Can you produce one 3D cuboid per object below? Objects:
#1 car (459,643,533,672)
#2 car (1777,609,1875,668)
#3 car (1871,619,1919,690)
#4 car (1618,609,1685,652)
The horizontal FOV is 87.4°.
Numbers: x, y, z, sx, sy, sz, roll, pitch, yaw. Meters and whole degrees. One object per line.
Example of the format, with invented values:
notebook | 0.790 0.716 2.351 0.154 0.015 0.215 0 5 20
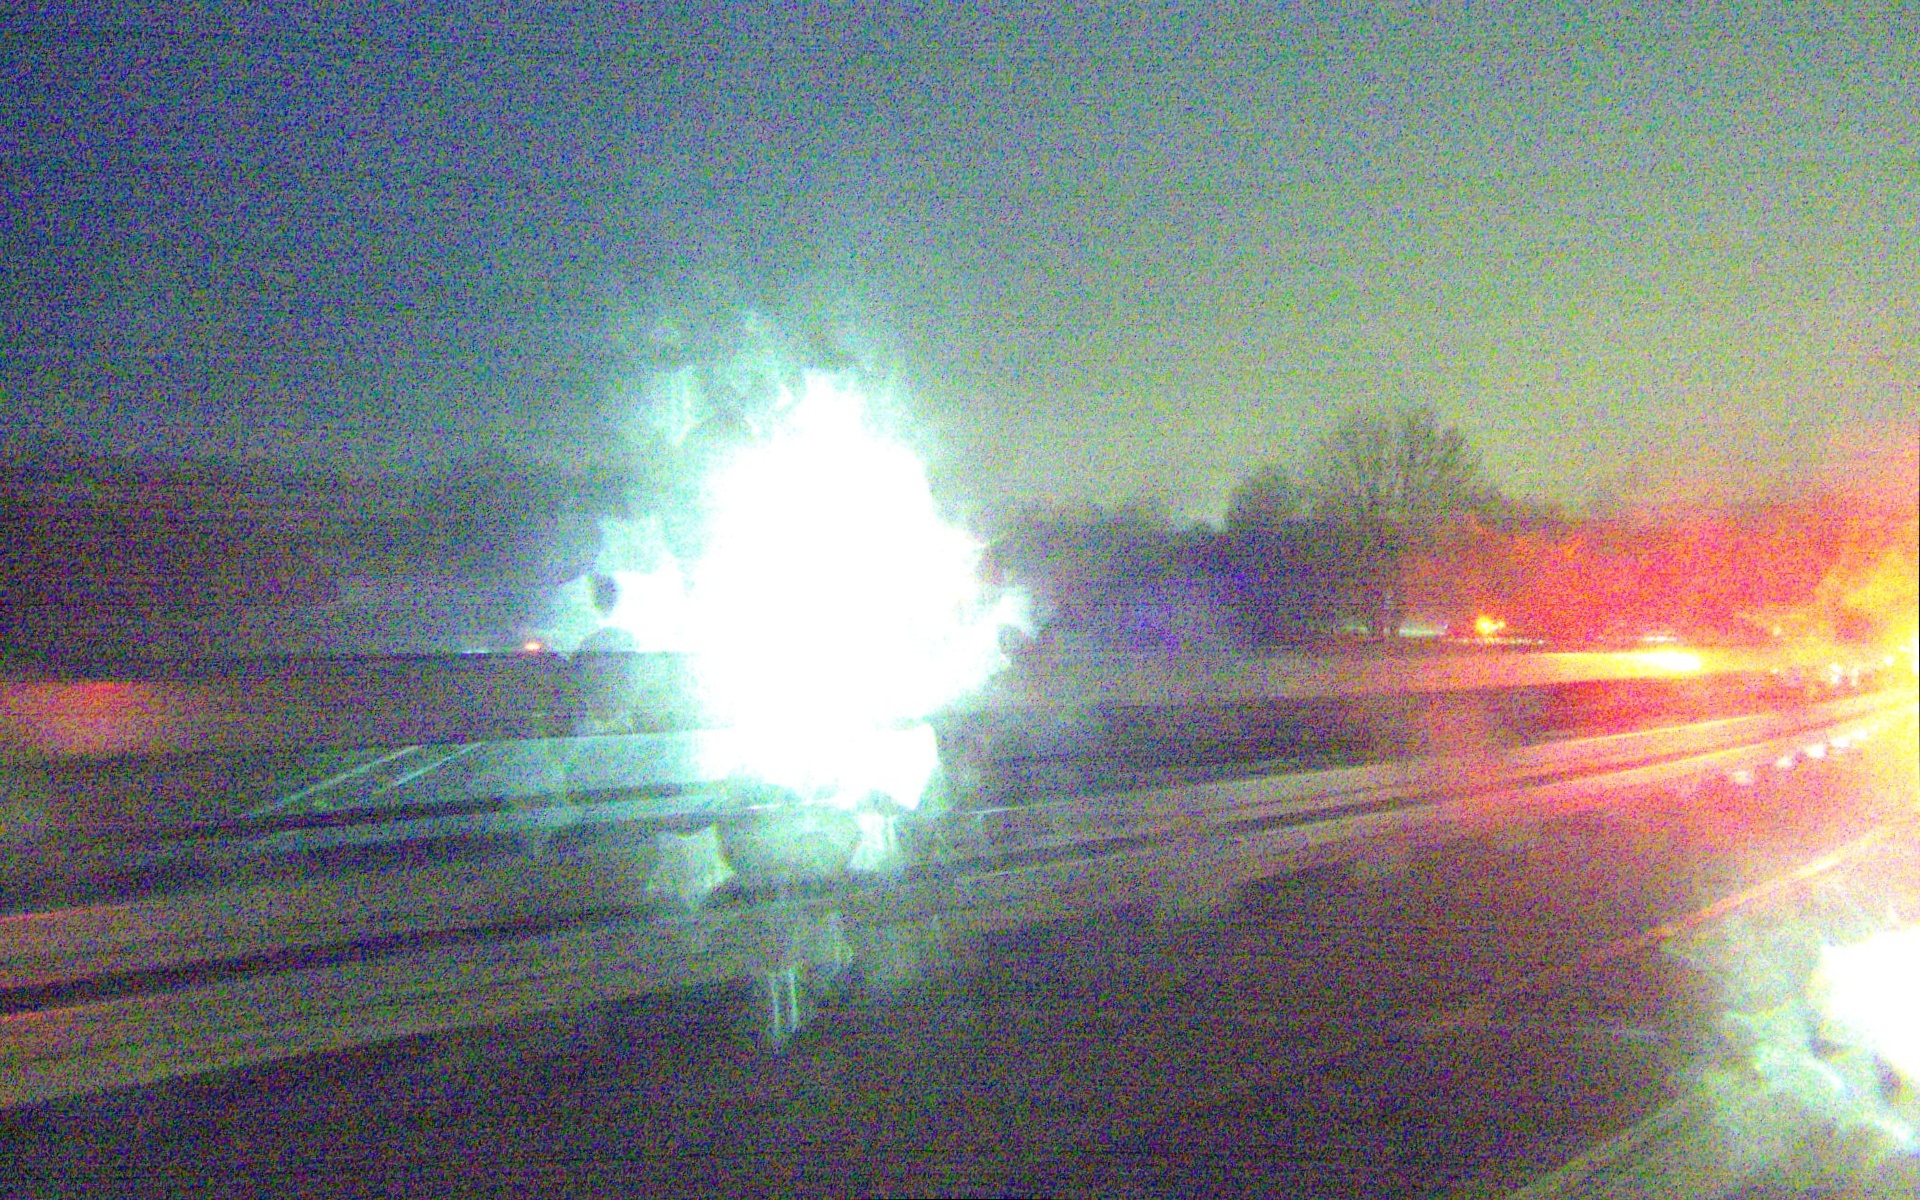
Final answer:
car | -28.800 3.591 62.484 1.696 1.787 3.816 -2 -4 36
car | 33.211 1.451 38.655 1.866 2.067 4.041 2 0 27
car | 25.702 1.427 26.494 1.869 1.743 4.033 2 1 34
car | 36.771 1.560 53.535 1.864 2.024 4.045 4 2 20
